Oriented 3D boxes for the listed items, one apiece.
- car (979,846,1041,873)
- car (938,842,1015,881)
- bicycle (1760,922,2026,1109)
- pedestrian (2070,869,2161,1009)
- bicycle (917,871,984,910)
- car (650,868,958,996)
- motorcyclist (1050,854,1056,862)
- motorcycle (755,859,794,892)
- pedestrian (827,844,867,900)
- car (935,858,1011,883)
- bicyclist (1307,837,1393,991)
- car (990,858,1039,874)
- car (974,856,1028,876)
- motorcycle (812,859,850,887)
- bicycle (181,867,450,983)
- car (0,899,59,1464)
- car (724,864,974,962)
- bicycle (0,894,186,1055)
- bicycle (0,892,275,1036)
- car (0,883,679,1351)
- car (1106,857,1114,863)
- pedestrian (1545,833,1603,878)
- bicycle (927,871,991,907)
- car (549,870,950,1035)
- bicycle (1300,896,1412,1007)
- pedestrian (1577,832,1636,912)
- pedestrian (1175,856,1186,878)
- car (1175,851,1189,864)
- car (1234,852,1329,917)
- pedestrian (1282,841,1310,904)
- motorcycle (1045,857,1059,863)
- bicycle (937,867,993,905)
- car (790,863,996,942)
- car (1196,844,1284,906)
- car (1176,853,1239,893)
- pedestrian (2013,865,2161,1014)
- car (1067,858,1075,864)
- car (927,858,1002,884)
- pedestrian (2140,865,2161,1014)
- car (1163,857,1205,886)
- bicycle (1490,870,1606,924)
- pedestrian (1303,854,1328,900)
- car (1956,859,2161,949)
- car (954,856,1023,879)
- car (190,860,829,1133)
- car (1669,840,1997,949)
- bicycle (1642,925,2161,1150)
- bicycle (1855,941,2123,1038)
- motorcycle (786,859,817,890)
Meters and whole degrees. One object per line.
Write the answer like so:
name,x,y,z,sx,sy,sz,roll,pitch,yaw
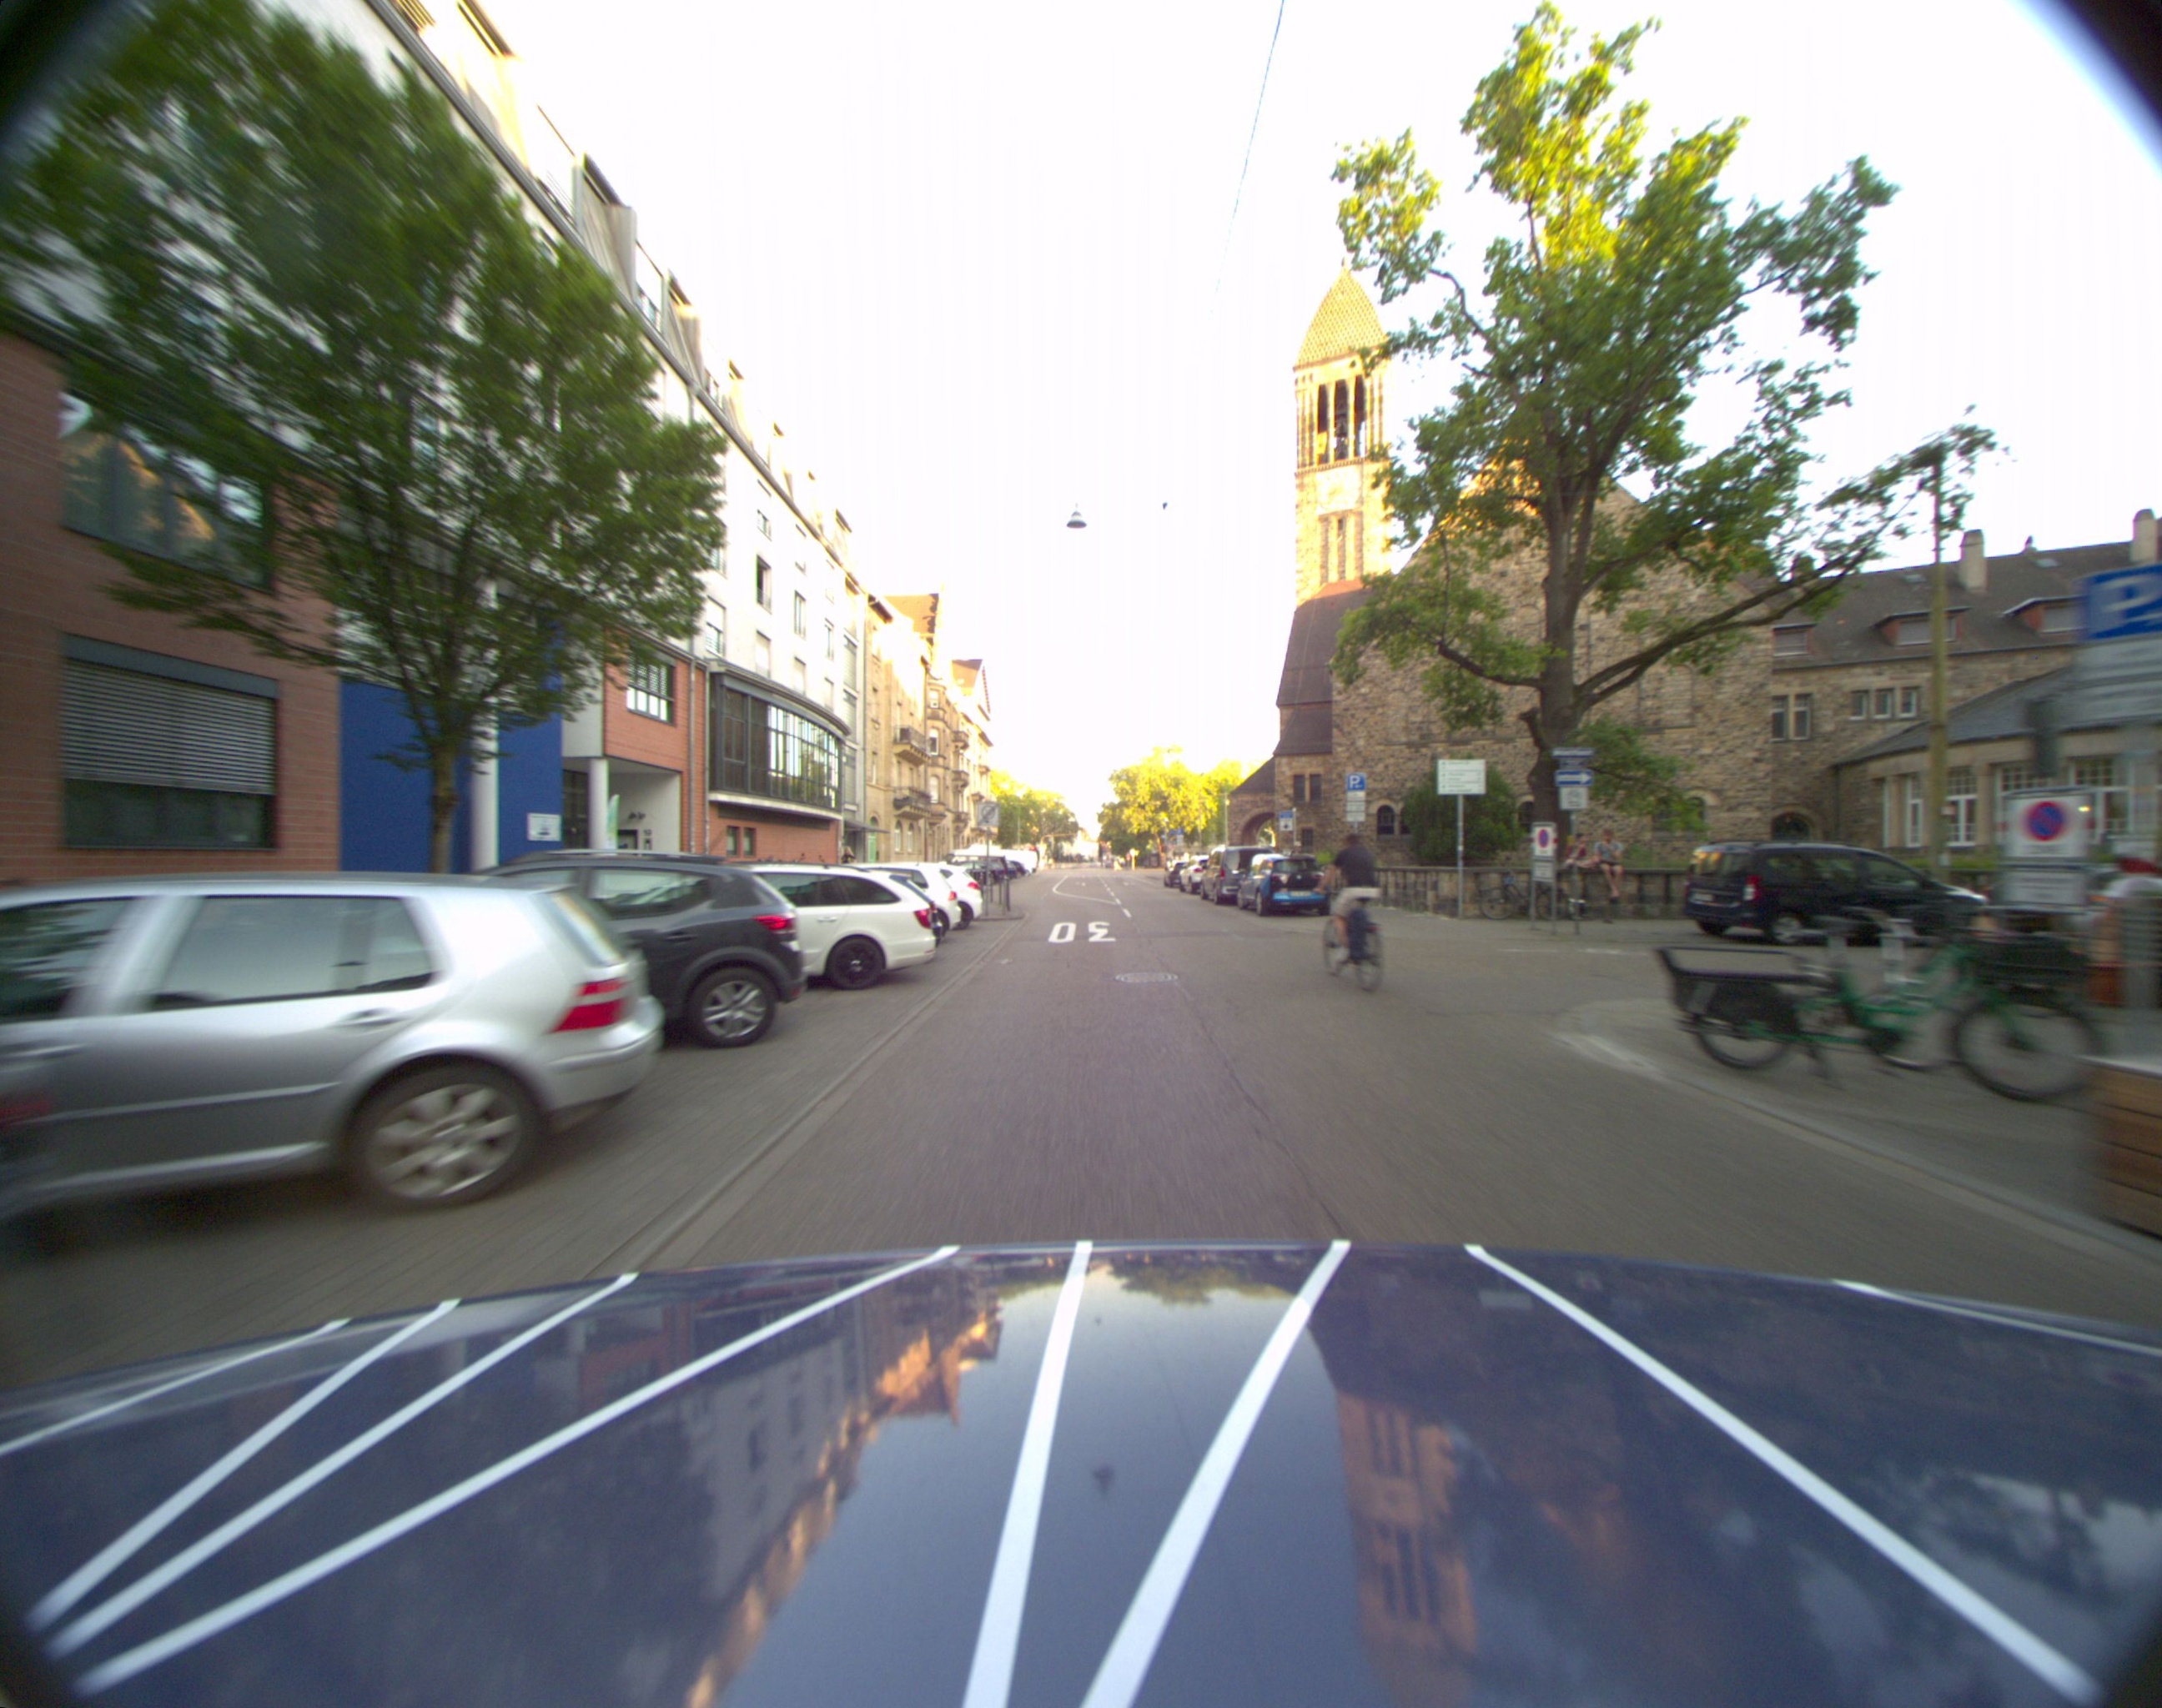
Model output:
car,-7.089,0.572,76.313,5.898,2.537,2.189,1,2,-40
car,-6.919,0.464,50.388,4.733,2.532,1.914,0,1,-29
bicycle,5.670,1.050,5.452,0.424,1.006,1.721,-1,-1,14
pedestrian,11.709,0.905,8.331,0.703,1.460,0.783,0,0,-1
bicycle,-3.835,1.069,22.347,1.862,1.059,0.445,2,0,-1
car,-4.019,0.999,11.151,4.007,1.514,1.705,0,1,-30
motorcyclist,-4.837,0.677,129.433,0.830,1.510,0.621,0,0,-25
motorcycle,-10.982,0.749,27.307,0.590,1.097,2.083,3,0,-3
pedestrian,-8.785,0.668,28.568,0.608,2.002,0.857,20,1,1
car,-6.769,1.011,47.867,4.363,1.494,1.909,0,0,-27
bicyclist,3.086,0.653,8.802,0.604,1.675,1.142,0,0,1
car,-6.396,1.149,73.591,4.264,1.445,1.994,1,0,-38
car,-6.743,1.016,64.323,4.108,1.598,1.811,2,0,-37
motorcycle,-10.771,0.801,32.777,0.802,1.132,2.440,2,0,0
bicycle,-8.461,0.757,8.445,2.351,1.092,0.680,3,0,3
car,-4.283,0.891,0.727,3.611,1.525,1.559,0,0,-27
car,-4.188,0.955,13.850,4.007,1.464,1.870,0,1,-32
bicycle,-8.563,0.909,5.955,2.540,1.159,0.562,0,0,3
bicycle,-8.501,0.919,6.584,2.540,1.159,0.562,0,0,3
car,-3.840,0.917,3.358,3.611,1.473,1.719,0,0,-27
car,7.754,1.578,201.096,1.827,1.564,4.002,-1,0,5
pedestrian,10.834,0.036,16.720,0.708,0.974,0.837,0,0,-1
bicycle,-3.749,1.080,23.339,1.862,1.032,0.472,2,0,-1
car,-3.736,0.971,8.941,4.007,1.528,1.632,0,0,-30
bicycle,3.089,1.048,8.726,0.616,1.034,1.904,0,0,0
pedestrian,11.565,0.389,16.746,0.708,1.711,0.837,0,0,-1
pedestrian,7.826,1.000,59.658,0.716,1.715,0.691,0,0,-9
car,16.435,0.558,123.519,1.865,2.002,3.815,0,0,15
car,5.202,0.742,20.206,1.644,1.546,4.005,-1,0,3
pedestrian,6.602,0.565,23.363,0.584,1.894,0.803,0,0,-3
motorcycle,-4.885,1.005,129.414,2.288,0.917,0.621,0,0,-25
bicycle,-3.731,1.020,24.447,1.712,1.169,0.472,2,0,-1
car,-4.045,0.967,16.455,4.006,1.498,1.766,0,0,-29
car,5.178,0.654,25.521,1.998,1.855,5.290,-1,0,2
car,5.326,0.775,32.571,1.876,1.582,4.468,0,0,-1
pedestrian,10.931,0.885,8.225,0.703,1.531,0.783,0,0,-1
car,-2.678,1.781,205.827,1.794,1.571,4.001,0,0,4
car,-6.918,0.999,45.368,4.076,1.483,1.720,0,0,-30
pedestrian,10.882,0.840,7.275,0.573,1.460,0.644,0,0,-1
car,5.410,0.900,40.517,1.787,1.426,4.316,0,0,2
bicycle,10.037,0.911,16.361,2.144,1.127,0.555,0,0,1
pedestrian,7.237,0.709,23.441,0.533,1.397,0.659,-2,0,1
car,18.793,0.847,13.630,4.210,1.491,1.721,0,0,0
car,-6.487,0.969,53.315,4.407,1.477,1.839,3,-1,-30
car,-4.081,0.840,6.087,3.612,1.571,1.712,0,0,-32
car,13.482,0.687,13.862,3.996,1.833,1.891,0,0,4
bicycle,4.737,1.007,4.580,2.111,1.088,0.502,-1,-1,25
bicycle,8.691,1.261,7.404,0.424,0.691,1.779,0,-2,-2
motorcycle,-10.905,0.780,29.719,0.778,1.133,2.413,1,0,-12
